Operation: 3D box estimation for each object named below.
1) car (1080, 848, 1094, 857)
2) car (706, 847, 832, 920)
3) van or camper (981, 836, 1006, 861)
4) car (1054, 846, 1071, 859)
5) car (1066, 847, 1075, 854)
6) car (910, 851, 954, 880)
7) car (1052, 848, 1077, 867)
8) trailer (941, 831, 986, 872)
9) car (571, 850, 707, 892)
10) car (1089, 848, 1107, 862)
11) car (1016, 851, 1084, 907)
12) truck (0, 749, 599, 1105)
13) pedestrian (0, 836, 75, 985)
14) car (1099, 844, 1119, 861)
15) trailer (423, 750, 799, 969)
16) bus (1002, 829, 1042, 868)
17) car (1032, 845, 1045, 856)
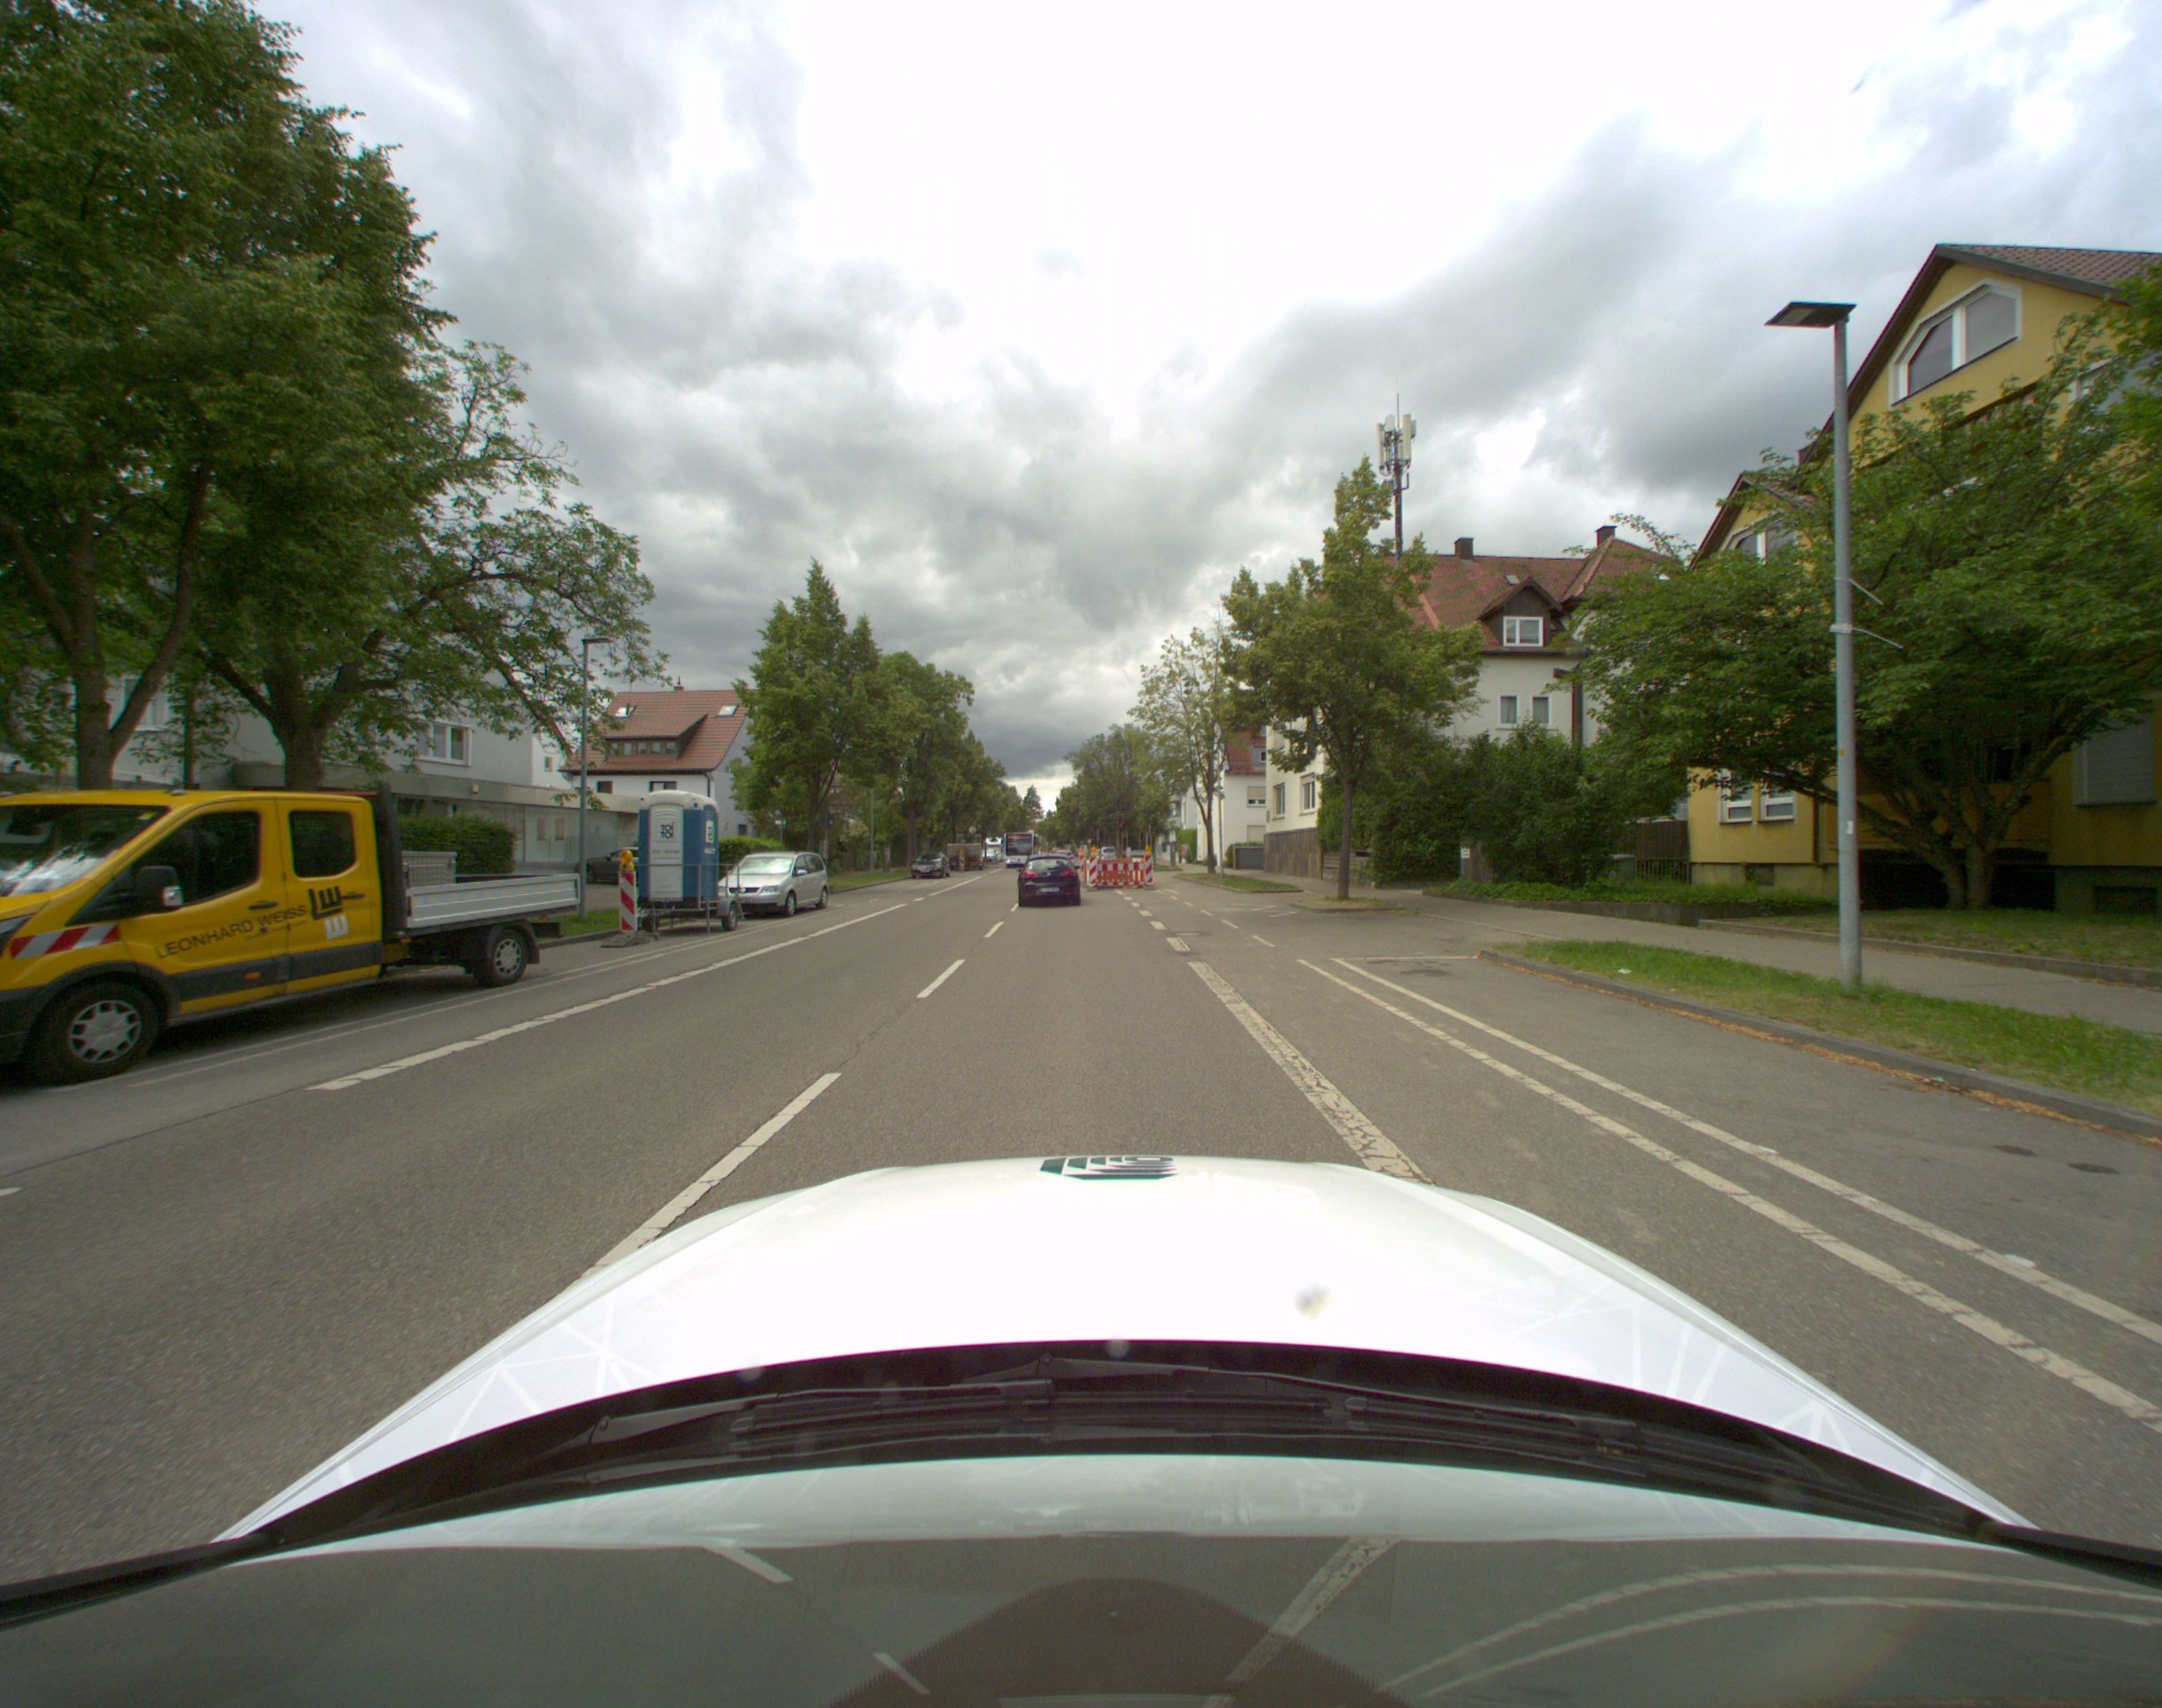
[{"bbox_3d":[0.890,-0.230,124.385,2.015,1.443,5.021,0,0,-2],"label":"car"},{"bbox_3d":[-7.881,0.689,21.011,1.684,1.684,4.223,0,0,-1],"label":"car"},{"bbox_3d":[-10.629,-0.675,99.909,2.429,3.009,7.687,-1,0,-2],"label":"van or camper"},{"bbox_3d":[-2.342,-0.218,104.115,1.990,1.530,3.994,-1,0,-4],"label":"car"},{"bbox_3d":[-2.343,-0.734,179.552,1.682,1.432,4.034,-1,1,-7],"label":"car"},{"bbox_3d":[-8.621,0.689,47.429,1.855,1.553,4.616,0,-1,-2],"label":"car"},{"bbox_3d":[-1.370,0.291,69.666,1.987,1.558,3.999,-1,0,0],"label":"car"},{"bbox_3d":[-8.912,-0.183,62.420,2.668,2.941,7.467,0,0,-3],"label":"trailer"},{"bbox_3d":[-16.247,0.600,30.064,4.059,1.433,1.804,1,1,6],"label":"car"},{"bbox_3d":[1.799,0.089,86.505,1.683,1.493,4.223,-1,0,-3],"label":"car"},{"bbox_3d":[-0.911,0.667,23.561,1.779,1.449,3.554,-1,0,-3],"label":"car"},{"bbox_3d":[-7.937,0.467,7.959,2.285,2.287,6.468,-1,0,3],"label":"truck"},{"bbox_3d":[-12.934,0.664,9.841,0.638,1.742,0.722,0,0,3],"label":"pedestrian"},{"bbox_3d":[2.755,-0.148,80.782,1.628,1.665,3.645,-1,0,-2],"label":"car"},{"bbox_3d":[-7.682,0.060,14.685,2.362,2.963,7.016,-1,0,3],"label":"trailer"},{"bbox_3d":[-5.375,-0.422,77.209,2.797,3.288,18.035,0,0,-1],"label":"bus"},{"bbox_3d":[-7.018,-0.536,134.660,1.988,1.667,4.587,-2,0,-1],"label":"car"}]
